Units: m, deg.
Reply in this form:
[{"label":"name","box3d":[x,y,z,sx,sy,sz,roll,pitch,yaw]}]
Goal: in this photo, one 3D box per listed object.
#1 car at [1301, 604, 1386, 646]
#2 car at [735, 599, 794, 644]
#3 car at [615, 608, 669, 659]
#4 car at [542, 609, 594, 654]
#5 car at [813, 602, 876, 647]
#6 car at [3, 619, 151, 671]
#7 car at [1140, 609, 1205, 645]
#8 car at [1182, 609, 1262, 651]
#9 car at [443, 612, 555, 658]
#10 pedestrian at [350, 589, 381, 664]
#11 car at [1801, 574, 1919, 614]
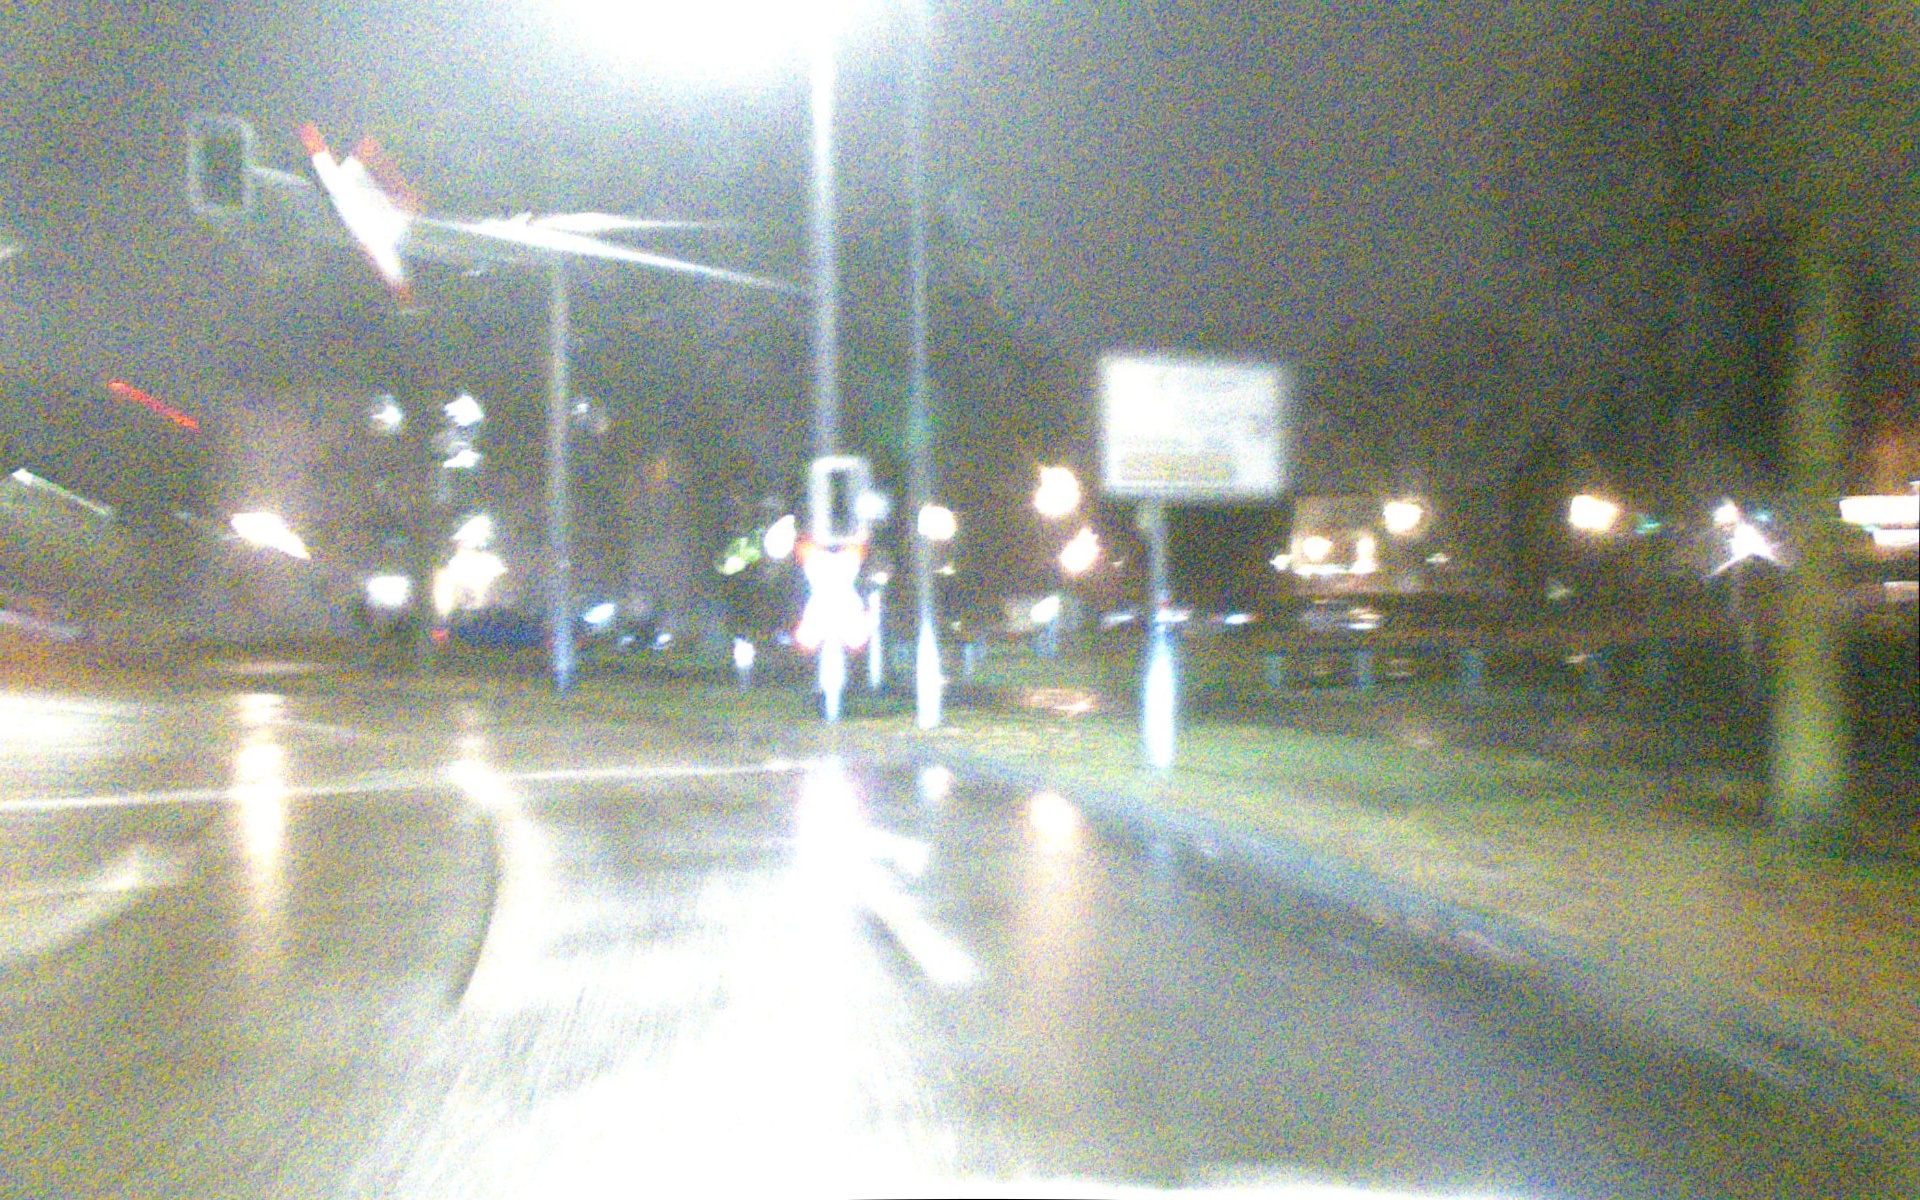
[{"label":"car","box3d":[14.774,0.978,63.876,1.686,1.563,3.898,0,-1,-13]},{"label":"car","box3d":[-6.976,0.777,58.881,1.686,1.523,3.898,0,-1,-13]},{"label":"car","box3d":[-11.138,1.183,57.757,1.687,1.523,3.898,-1,-4,-13]},{"label":"car","box3d":[-13.656,1.102,57.726,1.686,1.523,3.898,0,-1,-13]},{"label":"car","box3d":[-4.203,0.876,59.624,1.686,1.563,3.898,0,-1,-13]},{"label":"car","box3d":[-29.561,1.494,55.457,3.908,1.713,1.917,0,-1,-4]},{"label":"car","box3d":[9.573,1.235,74.695,1.686,1.563,3.898,0,-1,-13]},{"label":"car","box3d":[9.917,1.136,62.929,1.686,1.563,3.898,0,-1,-13]},{"label":"car","box3d":[-17.549,1.345,63.166,3.982,1.711,1.787,0,-1,-12]},{"label":"pedestrian","box3d":[-15.568,0.692,43.324,0.645,1.935,0.722,1,-2,-30]},{"label":"car","box3d":[38.014,-0.235,69.836,1.686,1.563,4.978,0,-1,-13]}]
